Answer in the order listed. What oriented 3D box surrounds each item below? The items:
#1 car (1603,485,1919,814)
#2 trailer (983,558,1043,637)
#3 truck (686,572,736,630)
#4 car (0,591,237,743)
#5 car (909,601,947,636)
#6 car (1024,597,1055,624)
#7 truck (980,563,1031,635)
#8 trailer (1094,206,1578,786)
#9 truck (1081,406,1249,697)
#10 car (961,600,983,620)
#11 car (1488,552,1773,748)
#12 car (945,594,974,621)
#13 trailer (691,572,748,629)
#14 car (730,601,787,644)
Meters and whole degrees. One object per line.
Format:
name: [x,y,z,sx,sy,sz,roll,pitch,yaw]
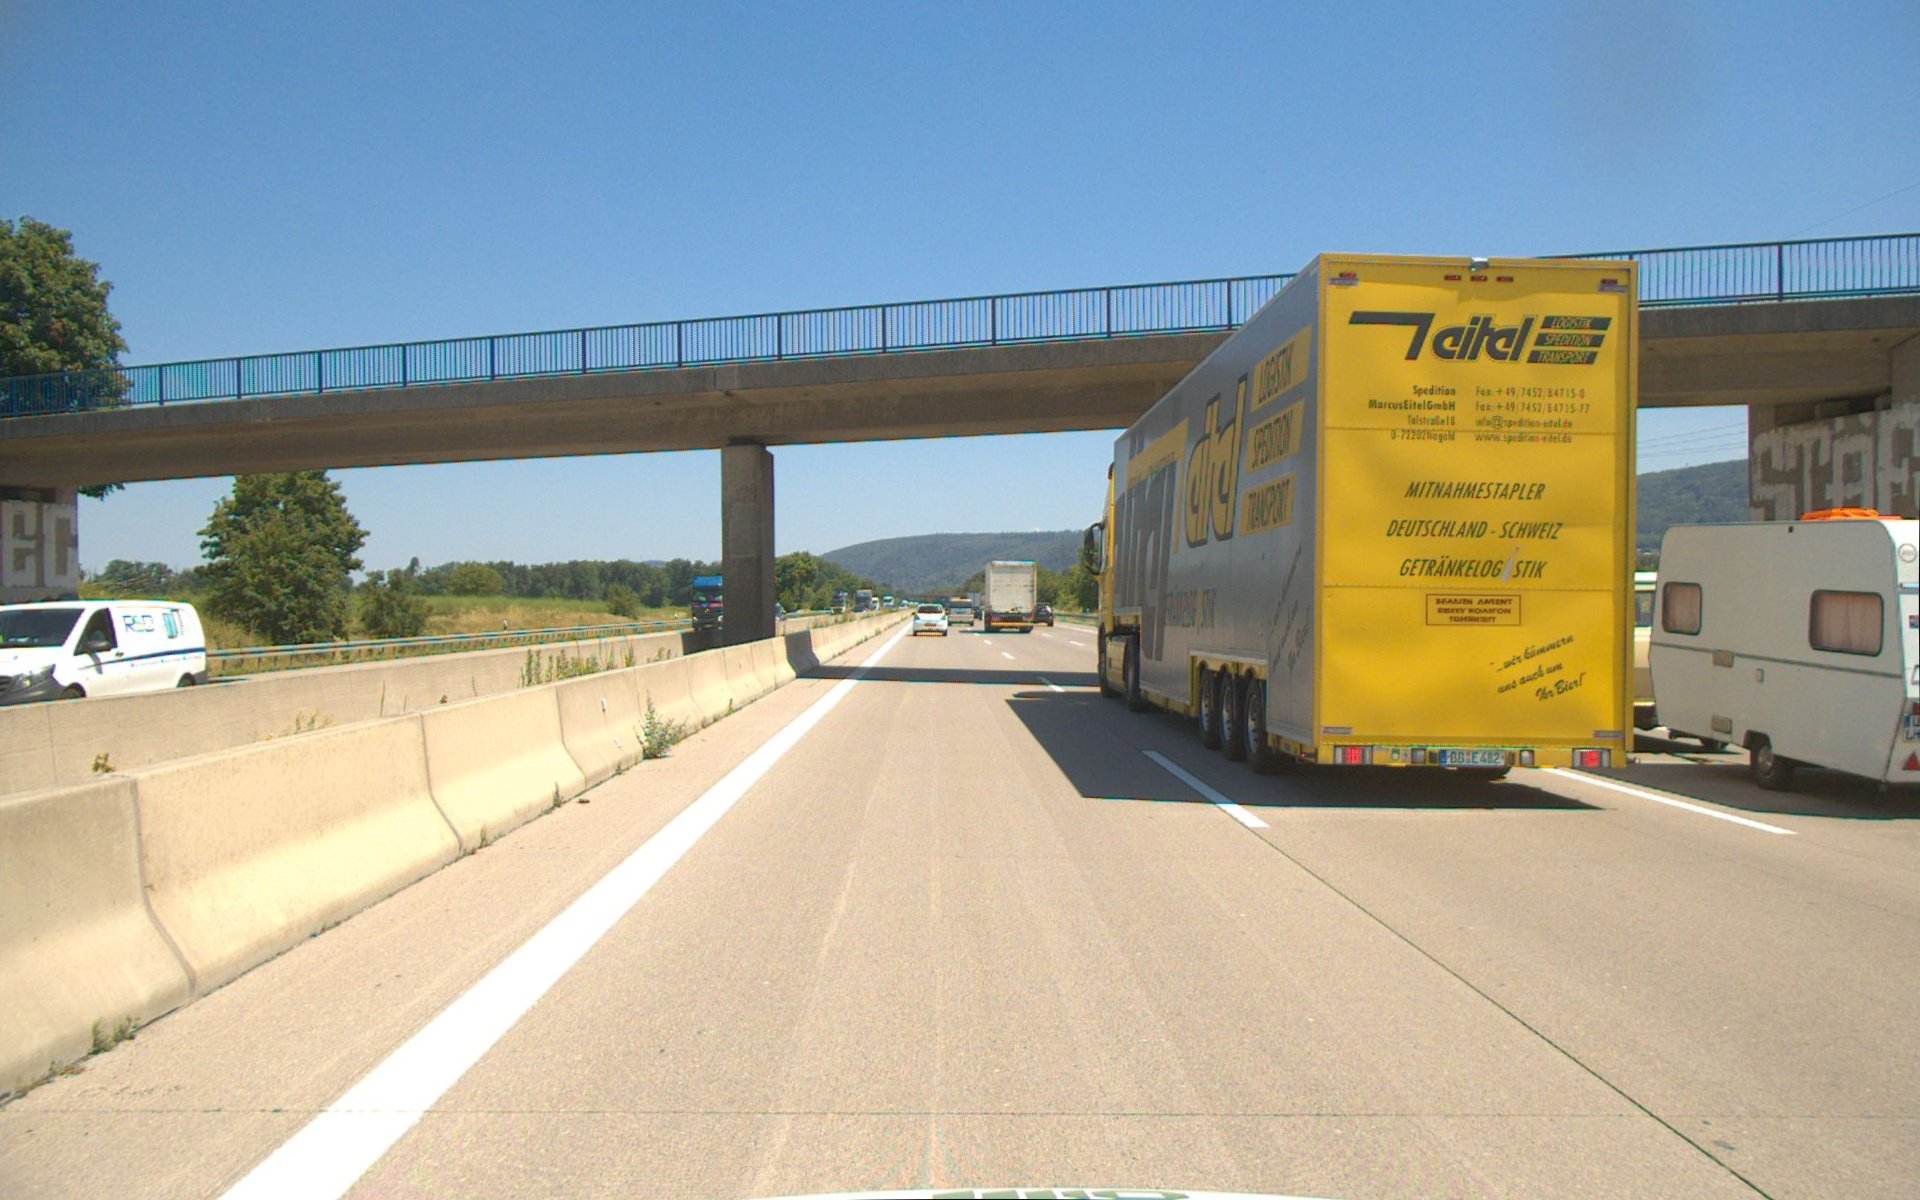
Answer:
car: [7.913,0.387,14.777,2.091,2.388,5.514,1,0,-1]
trailer: [2.738,-0.102,88.153,2.529,3.945,10.369,1,0,-2]
truck: [-18.583,0.087,123.779,2.921,4.162,6.464,0,0,-1]
car: [-13.055,0.909,24.593,2.206,1.992,5.683,-1,0,-1]
car: [-1.581,0.881,80.683,1.783,1.691,3.998,0,0,-2]
car: [5.878,0.800,122.456,1.953,1.881,3.999,3,0,-2]
truck: [2.545,-0.042,93.550,2.529,3.945,4.982,1,0,-2]
trailer: [3.451,-0.751,20.030,1.953,4.329,15.194,1,0,-2]
truck: [3.257,-0.715,27.333,1.953,4.329,5.193,1,0,-2]
car: [1.168,0.960,165.580,1.953,1.881,3.999,3,0,-2]
car: [7.726,0.542,19.454,1.747,2.049,3.819,1,0,-1]
car: [-0.018,0.516,119.265,1.953,1.881,3.999,1,0,-2]
trailer: [-18.688,0.040,129.236,2.921,4.162,11.602,-1,0,-1]
car: [-10.155,1.100,83.754,2.259,2.049,5.654,1,0,-1]
